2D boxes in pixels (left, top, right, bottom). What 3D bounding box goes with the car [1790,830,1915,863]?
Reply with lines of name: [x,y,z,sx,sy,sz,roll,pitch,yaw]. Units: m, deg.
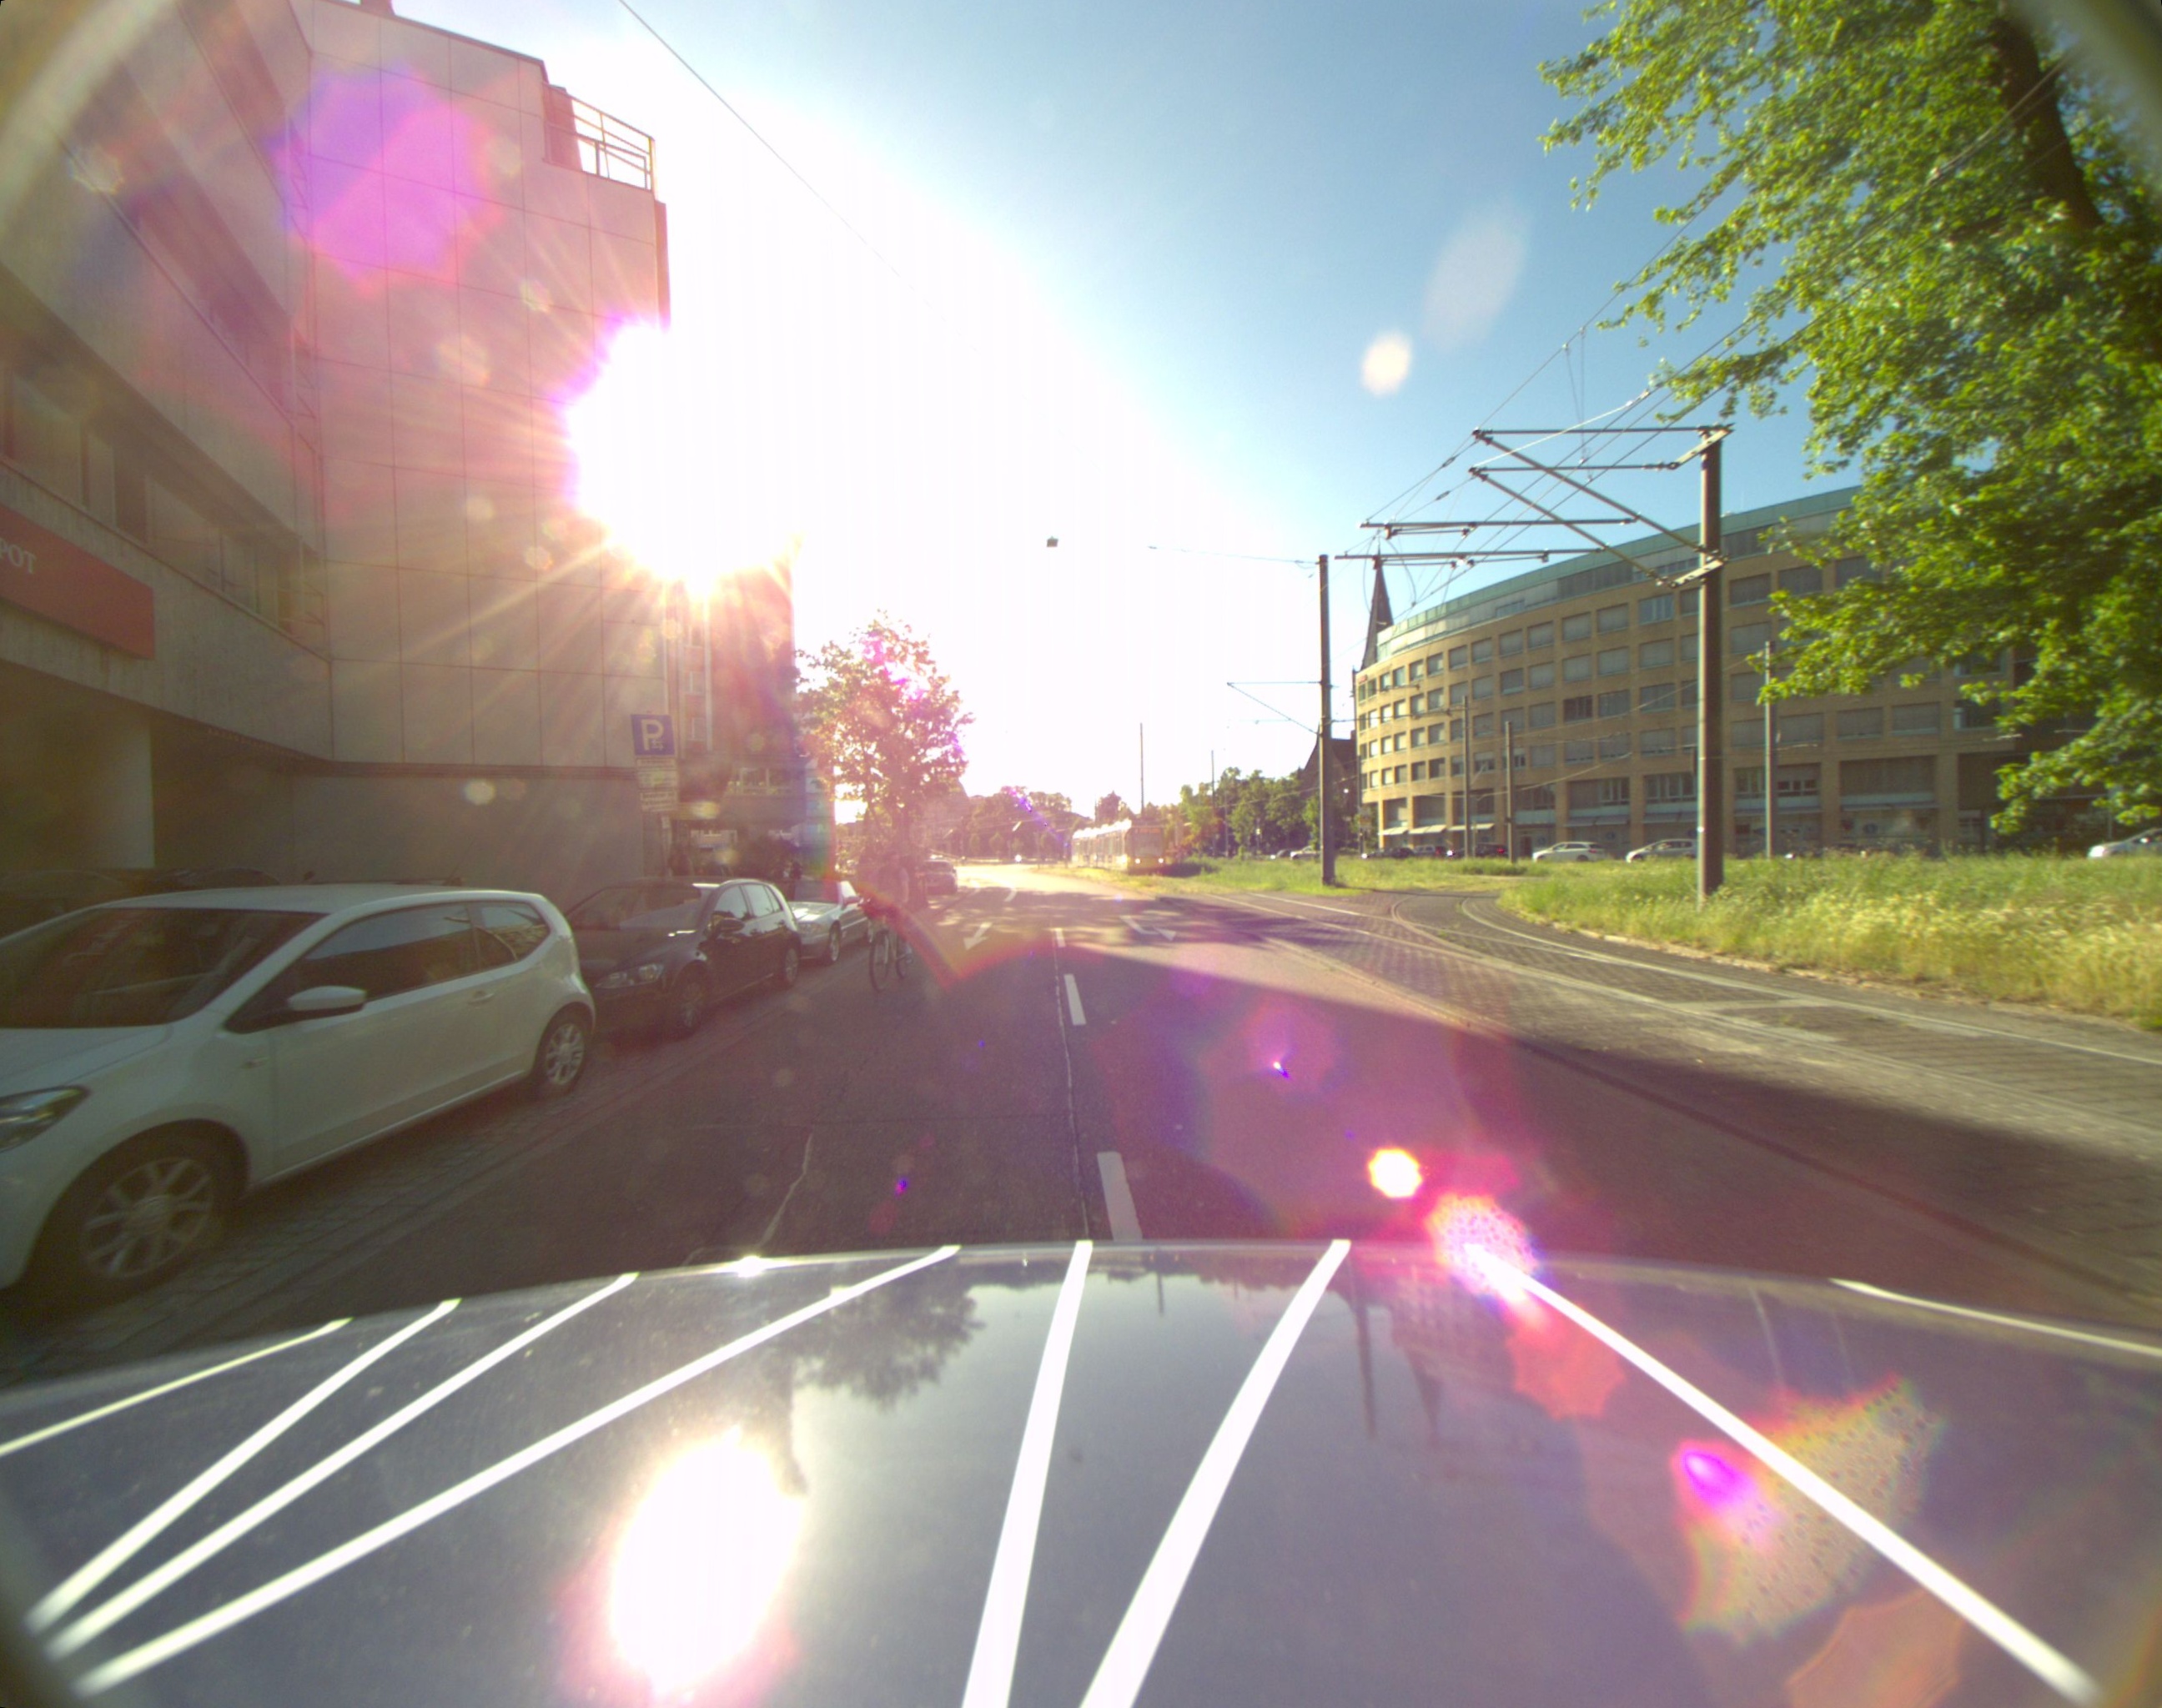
car: [40.984,-0.451,40.458,2.003,1.505,4.270,-3,5,-32]

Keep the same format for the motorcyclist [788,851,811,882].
motorcyclist: [-14.386,0.632,38.827,0.900,1.542,0.805,-4,2,-12]

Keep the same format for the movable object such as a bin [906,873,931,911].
movable object such as a bin: [-4.901,1.143,22.982,0.621,1.063,0.610,-3,2,-6]

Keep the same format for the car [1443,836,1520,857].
car: [30.705,-0.594,58.420,2.002,1.439,5.008,-4,2,-24]

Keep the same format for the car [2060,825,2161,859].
car: [46.784,-0.538,33.254,2.003,1.346,4.756,-4,1,-37]

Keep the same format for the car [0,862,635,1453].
car: [-4.417,1.012,4.037,1.856,1.679,3.864,-3,2,-3]

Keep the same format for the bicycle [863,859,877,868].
bicycle: [-27.088,1.208,97.447,1.707,1.005,0.410,-1,1,-30]

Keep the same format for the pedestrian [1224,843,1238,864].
pedestrian: [11.834,-0.032,59.996,0.737,1.661,0.743,-2,1,-19]

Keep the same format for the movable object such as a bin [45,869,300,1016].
movable object such as a bin: [-9.834,0.922,8.298,1.339,1.390,1.121,-3,2,5]

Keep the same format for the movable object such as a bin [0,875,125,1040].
movable object such as a bin: [-10.286,0.965,7.141,1.303,1.425,0.959,-3,2,5]

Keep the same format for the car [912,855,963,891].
car: [-6.253,0.770,33.559,1.771,1.430,4.580,-1,0,-5]

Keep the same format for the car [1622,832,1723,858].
car: [36.649,-0.558,47.197,2.003,1.419,4.499,-4,2,-32]

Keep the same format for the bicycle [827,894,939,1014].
bicycle: [-2.457,1.198,9.746,0.888,1.129,2.227,-3,2,-3]

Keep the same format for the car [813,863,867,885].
car: [-21.060,1.715,66.467,4.168,1.494,1.840,-4,4,-29]

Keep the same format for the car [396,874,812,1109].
car: [-4.453,1.133,8.026,1.675,1.510,4.197,-3,2,0]

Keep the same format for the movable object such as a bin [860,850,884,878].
movable object such as a bin: [-13.356,0.633,48.525,1.261,1.699,0.943,-2,2,-28]

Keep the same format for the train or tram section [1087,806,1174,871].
train or tram section: [2.939,-0.939,50.286,2.958,3.664,13.173,-3,1,-8]

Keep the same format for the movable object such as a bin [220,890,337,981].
movable object such as a bin: [-10.992,1.100,10.433,0.745,1.127,0.723,-3,2,3]

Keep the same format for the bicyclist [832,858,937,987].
bicyclist: [-2.471,0.829,9.703,1.040,1.476,0.988,-3,2,-3]

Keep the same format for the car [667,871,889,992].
car: [-4.762,1.126,12.813,1.856,1.336,4.597,-3,2,0]

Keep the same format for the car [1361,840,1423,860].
car: [26.734,-0.366,65.423,2.002,1.509,4.651,-4,2,-28]

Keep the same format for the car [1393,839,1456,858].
car: [32.471,-0.500,72.060,2.127,1.659,5.199,-4,2,-27]

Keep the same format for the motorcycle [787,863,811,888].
motorcycle: [-14.358,1.076,38.720,0.778,1.120,2.294,-3,2,-12]

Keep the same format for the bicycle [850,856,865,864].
bicycle: [-30.584,0.817,104.060,1.826,1.054,0.414,-3,2,-32]

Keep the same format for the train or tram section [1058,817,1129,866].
train or tram section: [0.749,-0.995,63.965,2.959,3.592,13.619,-3,1,-11]

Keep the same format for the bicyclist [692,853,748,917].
bicyclist: [-8.027,0.671,16.936,0.760,1.319,0.993,-3,2,-6]

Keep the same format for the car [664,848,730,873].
car: [-35.795,0.568,71.008,5.260,2.186,2.373,-2,1,-23]

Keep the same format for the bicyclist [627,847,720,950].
bicyclist: [-6.952,0.735,12.982,0.940,1.624,0.936,-2,3,29]

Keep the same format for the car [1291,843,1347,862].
car: [22.784,-0.144,72.864,2.109,1.724,5.074,-3,1,-29]

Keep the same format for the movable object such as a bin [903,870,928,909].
movable object such as a bin: [-4.873,1.045,22.404,0.593,1.063,0.495,-3,2,-6]

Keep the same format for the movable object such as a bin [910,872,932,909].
movable object such as a bin: [-4.959,1.140,23.578,0.575,1.076,0.570,-3,2,-6]

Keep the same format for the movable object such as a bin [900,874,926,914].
movable object such as a bin: [-4.818,1.133,21.822,0.608,1.063,0.613,-3,2,-7]

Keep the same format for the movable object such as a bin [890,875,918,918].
movable object such as a bin: [-4.776,1.139,20.574,0.612,1.099,0.525,-3,2,-6]

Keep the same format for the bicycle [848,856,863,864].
bicycle: [-31.100,0.785,104.832,1.826,1.054,0.414,-2,1,-32]

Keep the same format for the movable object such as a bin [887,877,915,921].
movable object such as a bin: [-4.723,1.172,19.984,0.594,1.077,0.604,-3,2,-6]

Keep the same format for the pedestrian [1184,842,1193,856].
pedestrian: [15.659,-0.760,110.889,0.880,2.003,0.923,-4,3,-26]

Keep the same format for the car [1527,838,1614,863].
car: [33.807,-0.257,52.585,2.002,1.587,4.645,-4,2,-29]

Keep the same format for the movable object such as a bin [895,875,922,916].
movable object such as a bin: [-4.790,1.155,21.143,0.606,1.063,0.545,-3,2,-6]

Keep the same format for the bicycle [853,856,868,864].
bicycle: [-29.695,0.770,102.394,1.827,1.063,0.414,-1,2,-32]
